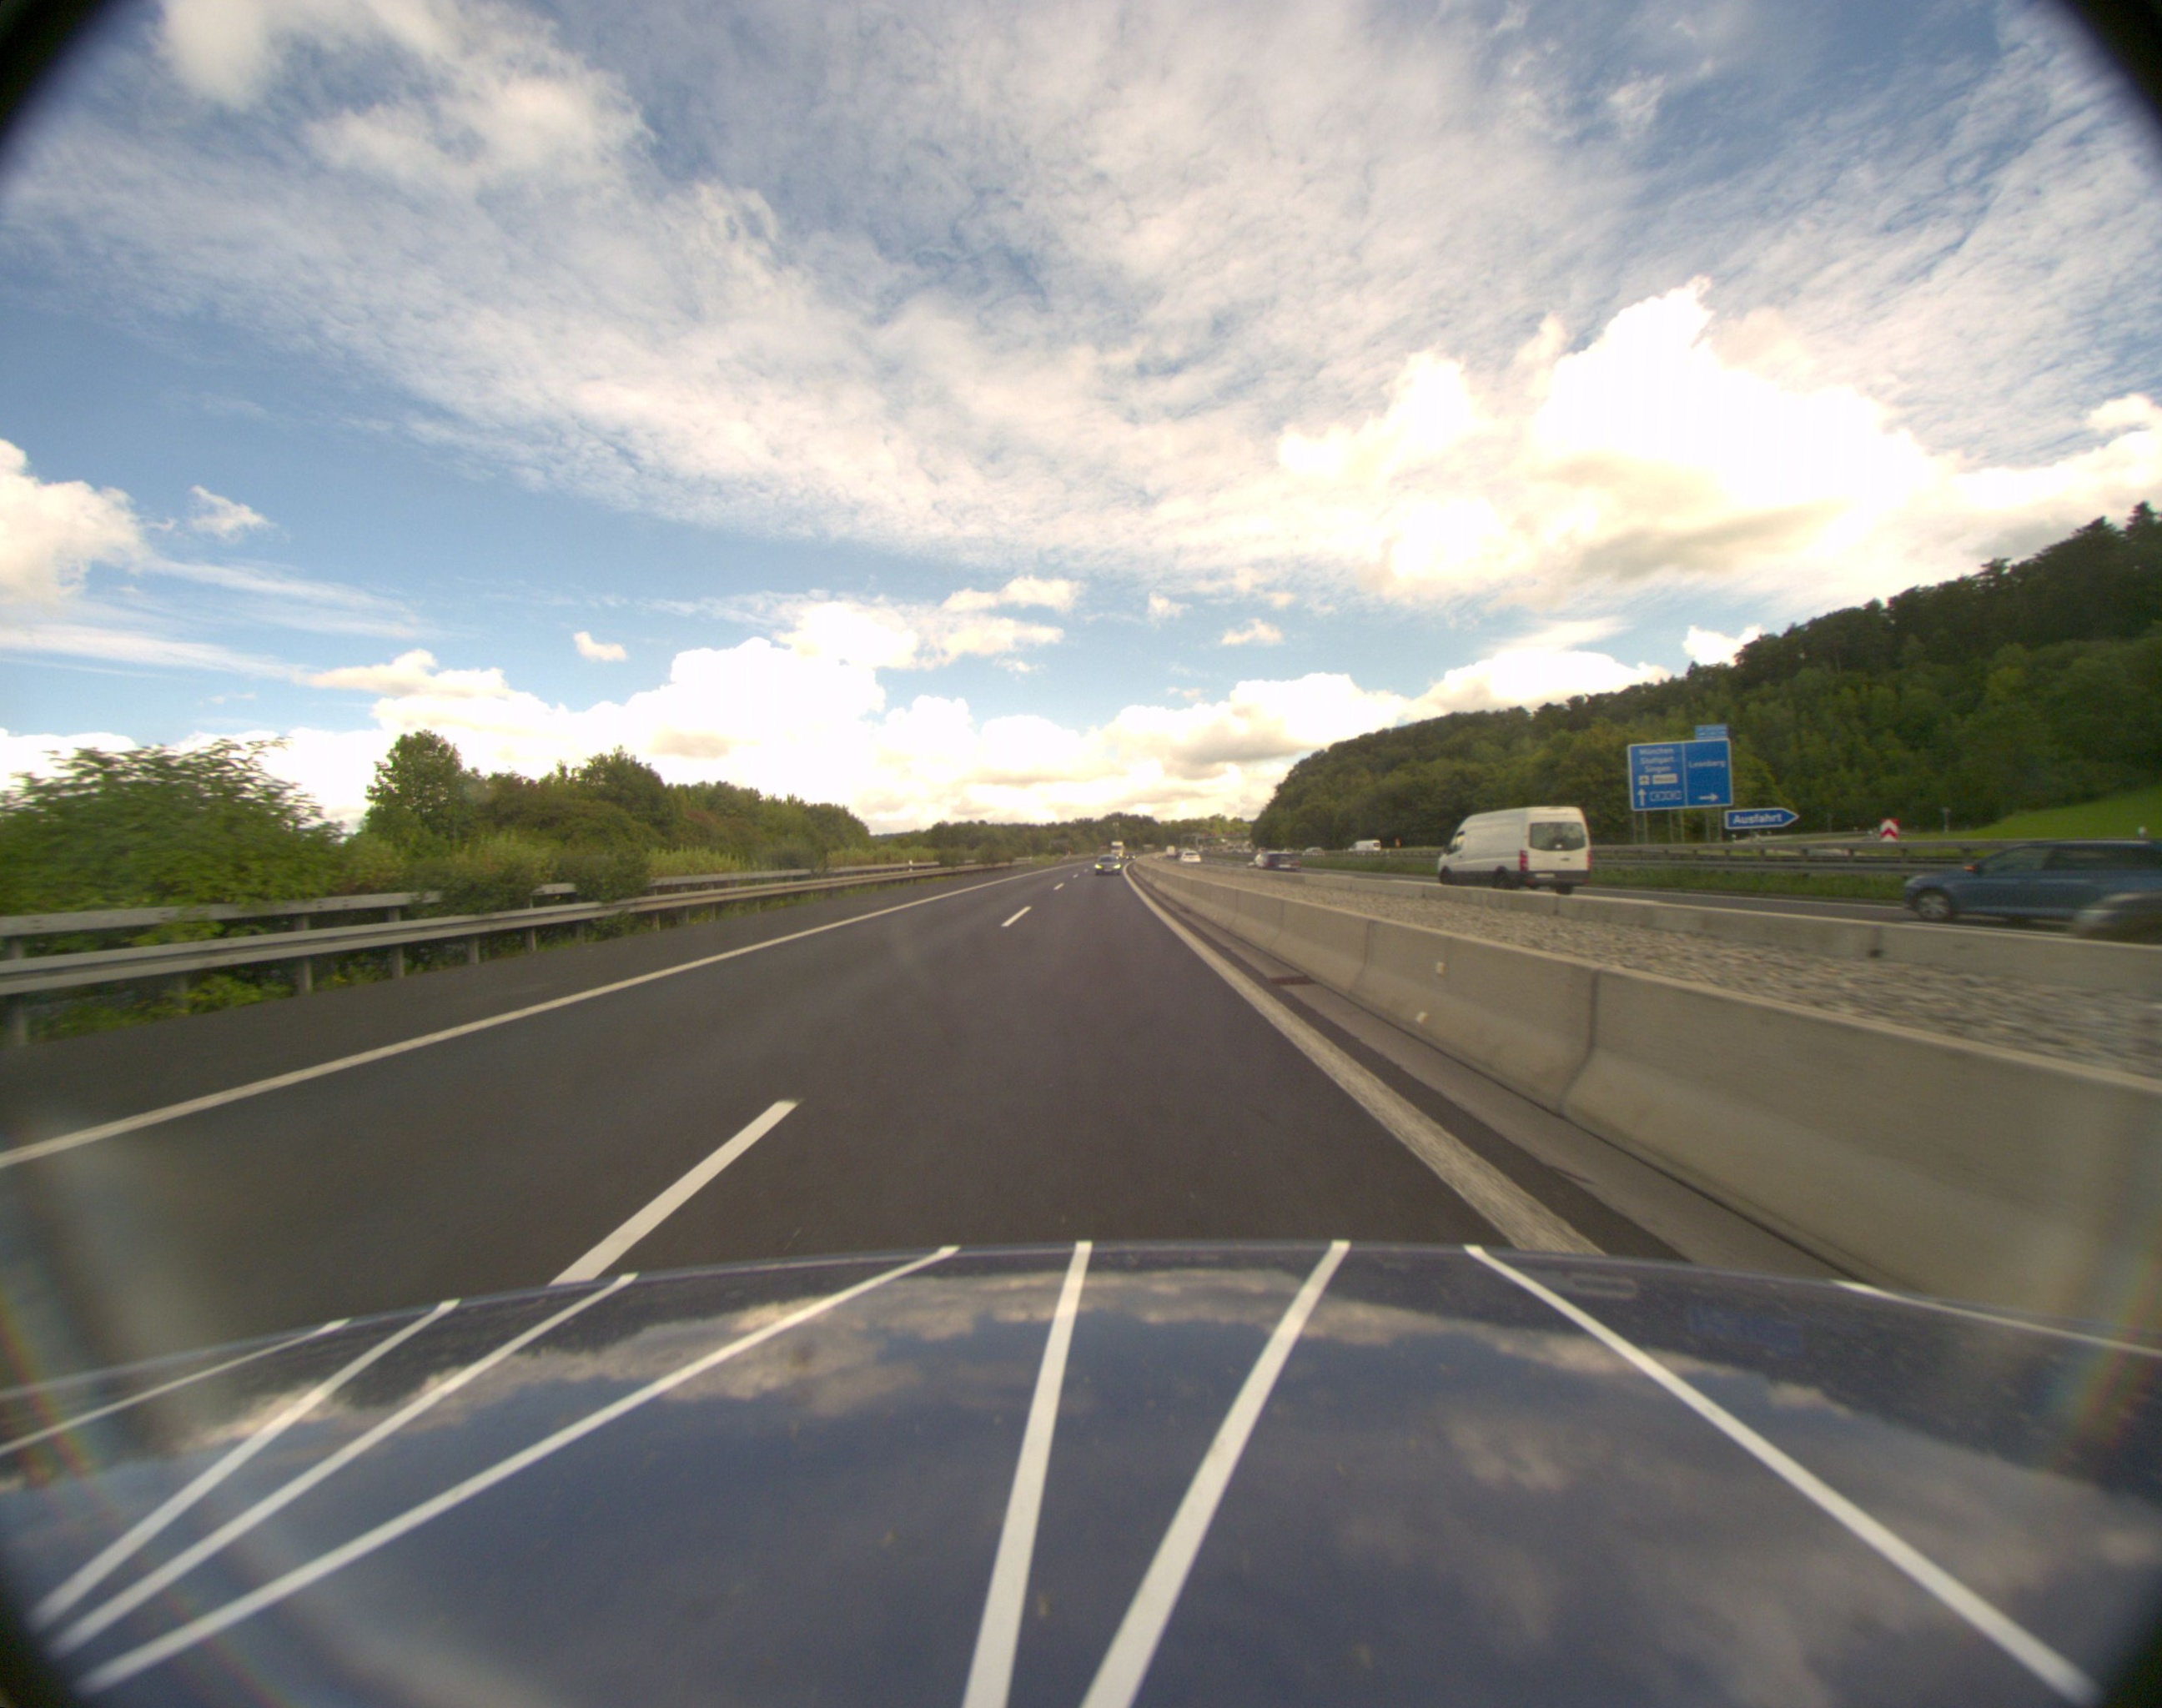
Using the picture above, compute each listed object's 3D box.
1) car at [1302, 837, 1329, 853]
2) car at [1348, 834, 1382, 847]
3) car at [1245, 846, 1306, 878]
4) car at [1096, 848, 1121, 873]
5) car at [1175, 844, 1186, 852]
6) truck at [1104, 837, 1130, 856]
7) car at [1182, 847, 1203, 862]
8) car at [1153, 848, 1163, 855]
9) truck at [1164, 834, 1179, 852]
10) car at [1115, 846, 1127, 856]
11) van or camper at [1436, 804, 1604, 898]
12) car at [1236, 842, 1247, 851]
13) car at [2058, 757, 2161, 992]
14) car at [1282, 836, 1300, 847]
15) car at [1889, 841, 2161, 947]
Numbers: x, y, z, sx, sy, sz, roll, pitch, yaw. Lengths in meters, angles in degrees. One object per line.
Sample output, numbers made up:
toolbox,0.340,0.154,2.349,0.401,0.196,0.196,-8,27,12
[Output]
car,27.800,-1.106,90.065,1.998,1.761,4.000,-2,1,1
car,48.083,-2.222,128.650,2.003,2.002,5.143,-3,1,-35
car,9.466,0.354,37.349,1.868,1.413,4.424,-2,1,1
car,2.055,0.473,57.232,1.724,1.722,3.938,-3,1,1
car,21.190,-1.301,161.689,2.195,1.726,4.426,-2,1,6
truck,8.816,-1.875,185.536,4.945,4.306,14.636,-2,1,8
car,11.265,0.055,77.074,1.755,1.444,3.937,-2,1,4
car,15.313,-0.500,151.301,1.868,1.413,4.426,-2,1,6
truck,22.607,-2.734,190.152,3.607,4.306,8.533,-2,1,6
car,6.897,-0.570,131.260,1.998,1.591,4.001,-2,1,5
van or camper,13.406,-0.123,23.711,2.105,2.521,5.422,-2,1,1
car,37.315,-1.857,176.879,1.997,2.002,4.001,-2,1,6
car,8.265,0.133,3.336,1.754,1.621,4.840,-2,1,1
car,41.408,-2.428,150.018,2.000,2.002,3.997,-2,1,-8
car,15.889,0.537,11.978,1.754,1.413,4.207,-2,1,-1
